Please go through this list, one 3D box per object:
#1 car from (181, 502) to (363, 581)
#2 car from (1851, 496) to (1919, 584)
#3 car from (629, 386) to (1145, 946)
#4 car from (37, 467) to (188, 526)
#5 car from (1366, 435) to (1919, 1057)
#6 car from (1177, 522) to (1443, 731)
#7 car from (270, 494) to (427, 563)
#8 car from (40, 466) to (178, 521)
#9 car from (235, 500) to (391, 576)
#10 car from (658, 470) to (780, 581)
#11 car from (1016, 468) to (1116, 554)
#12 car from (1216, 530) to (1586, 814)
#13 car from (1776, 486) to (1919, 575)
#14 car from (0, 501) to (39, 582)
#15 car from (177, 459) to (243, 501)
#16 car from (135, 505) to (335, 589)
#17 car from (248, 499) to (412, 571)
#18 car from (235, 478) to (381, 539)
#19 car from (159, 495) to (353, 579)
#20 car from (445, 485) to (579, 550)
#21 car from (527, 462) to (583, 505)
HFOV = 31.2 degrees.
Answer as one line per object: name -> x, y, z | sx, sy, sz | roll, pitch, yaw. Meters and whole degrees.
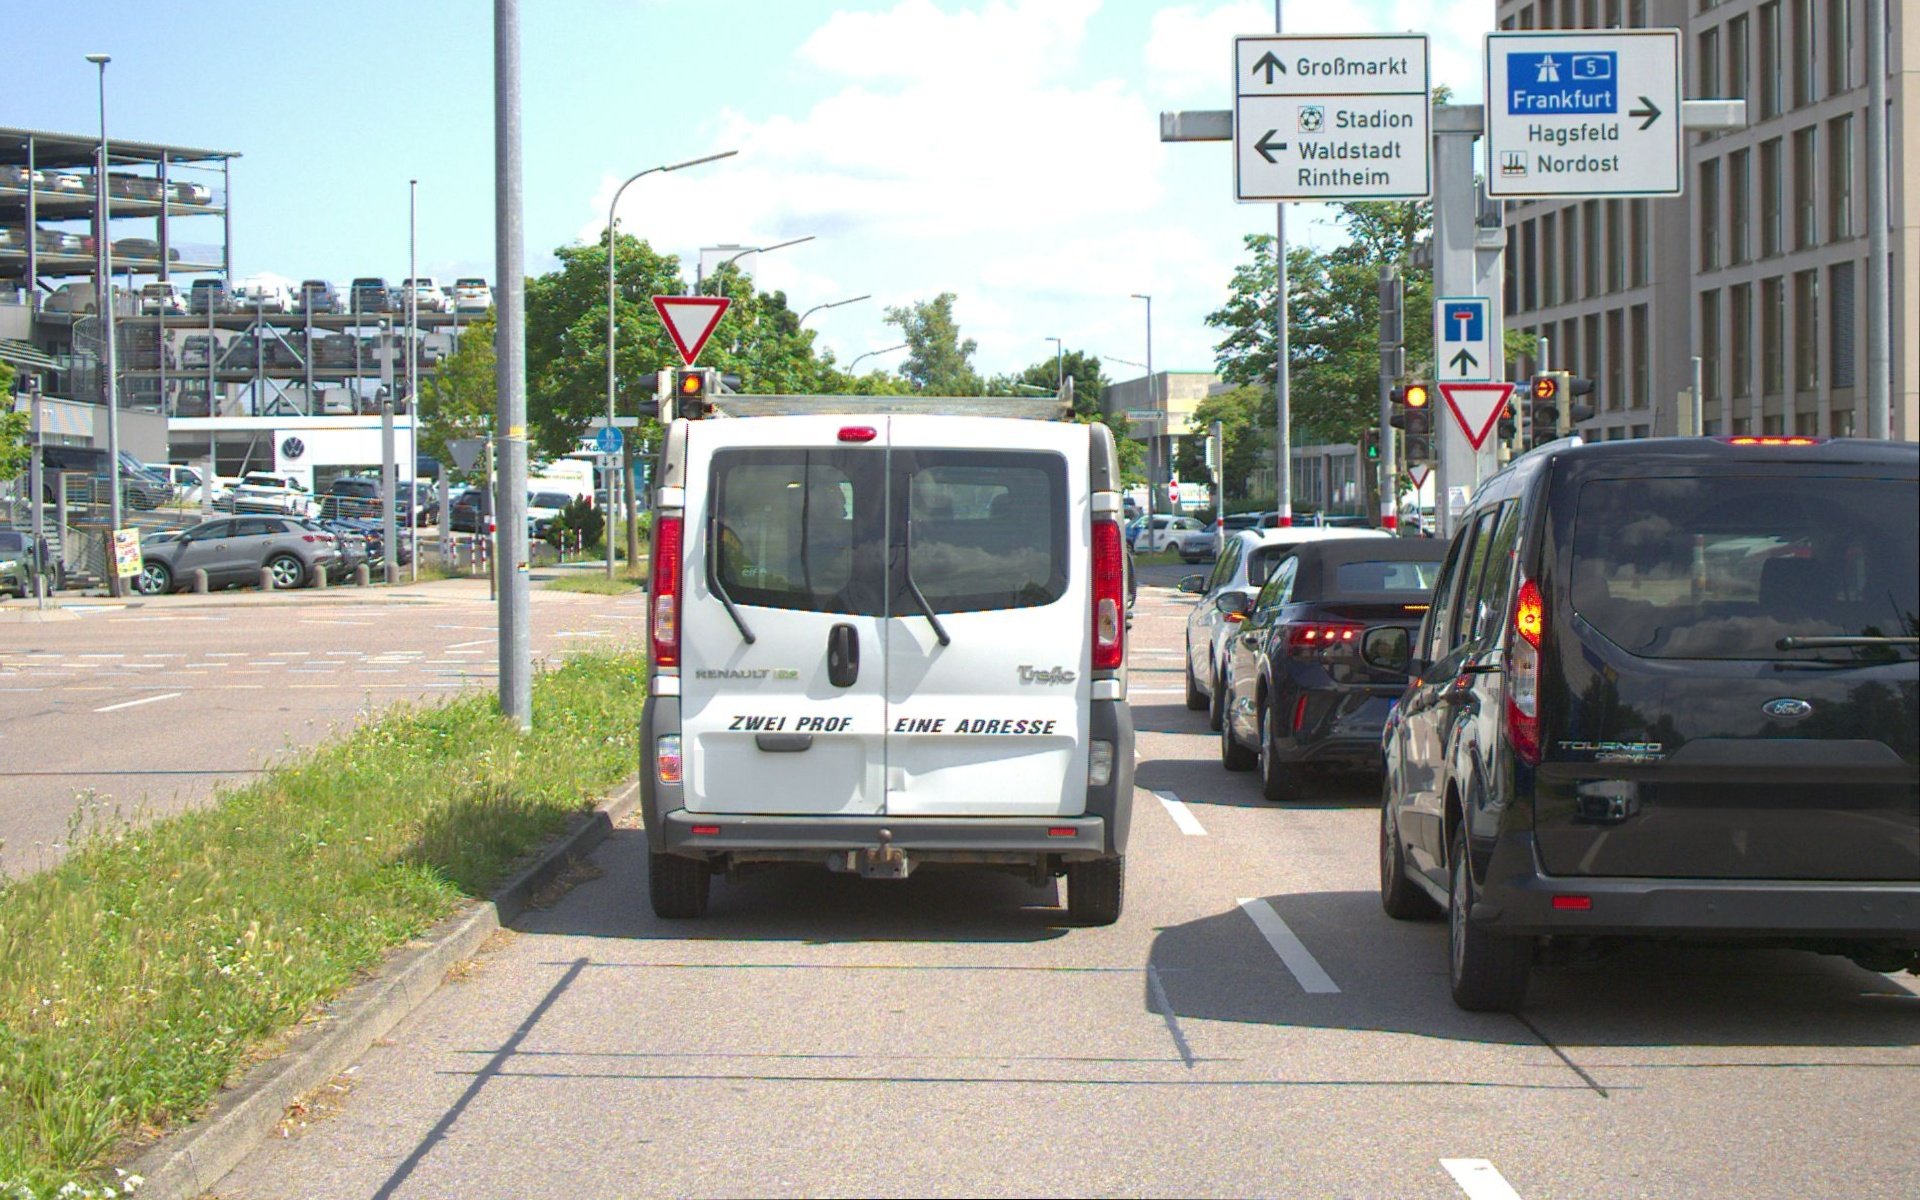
car -> -15.945, -1.371, 79.820 | 3.912, 1.707, 1.689 | -2, 2, -4
car -> 17.619, -1.037, 59.484 | 3.893, 1.485, 1.795 | 0, 2, -1
car -> -0.207, 0.204, 14.502 | 1.856, 2.011, 4.000 | 1, 1, 2
car -> -25.090, -3.063, 101.867 | 4.164, 1.707, 1.689 | 0, 1, -6
car -> 2.502, 0.384, 12.084 | 1.820, 1.802, 4.000 | 1, 1, 3
car -> 2.739, 0.167, 27.670 | 1.740, 1.538, 4.000 | 1, 1, 1
car -> -16.355, -1.922, 92.043 | 3.912, 1.707, 1.689 | -2, 2, -4
car -> -27.649, -3.453, 111.784 | 4.164, 1.707, 1.689 | 0, 1, -6
car -> -15.649, -1.505, 83.244 | 3.507, 1.707, 1.604 | -2, 2, -4
car -> -5.146, -1.637, 73.951 | 1.971, 2.248, 4.980 | -1, 2, 3
car -> 2.817, -2.436, 92.750 | 1.993, 2.247, 5.516 | 0, 2, -6
car -> 2.565, 0.355, 20.851 | 1.740, 1.490, 4.000 | 1, 2, 1
car -> 17.834, -1.292, 63.521 | 4.982, 1.602, 2.000 | 0, 2, -3
car -> -19.193, -1.176, 67.818 | 1.816, 1.546, 4.001 | 0, 1, -17
car -> -27.490, -4.397, 126.161 | 1.846, 1.524, 4.001 | 0, 2, -5
car -> -15.323, -1.133, 72.775 | 3.861, 1.634, 1.858 | -2, 2, -4
car -> -16.180, -1.681, 88.396 | 3.912, 1.707, 1.689 | -2, 2, -4
car -> -19.606, -2.758, 103.487 | 4.164, 1.707, 1.689 | 1, 2, -6
car -> -15.371, -1.380, 75.171 | 3.912, 1.707, 1.689 | -2, 2, -4
car -> -13.571, -2.493, 104.215 | 3.986, 1.919, 1.827 | 0, 1, -6
car -> -14.726, -4.235, 125.130 | 1.846, 1.524, 4.001 | 0, 2, -5
